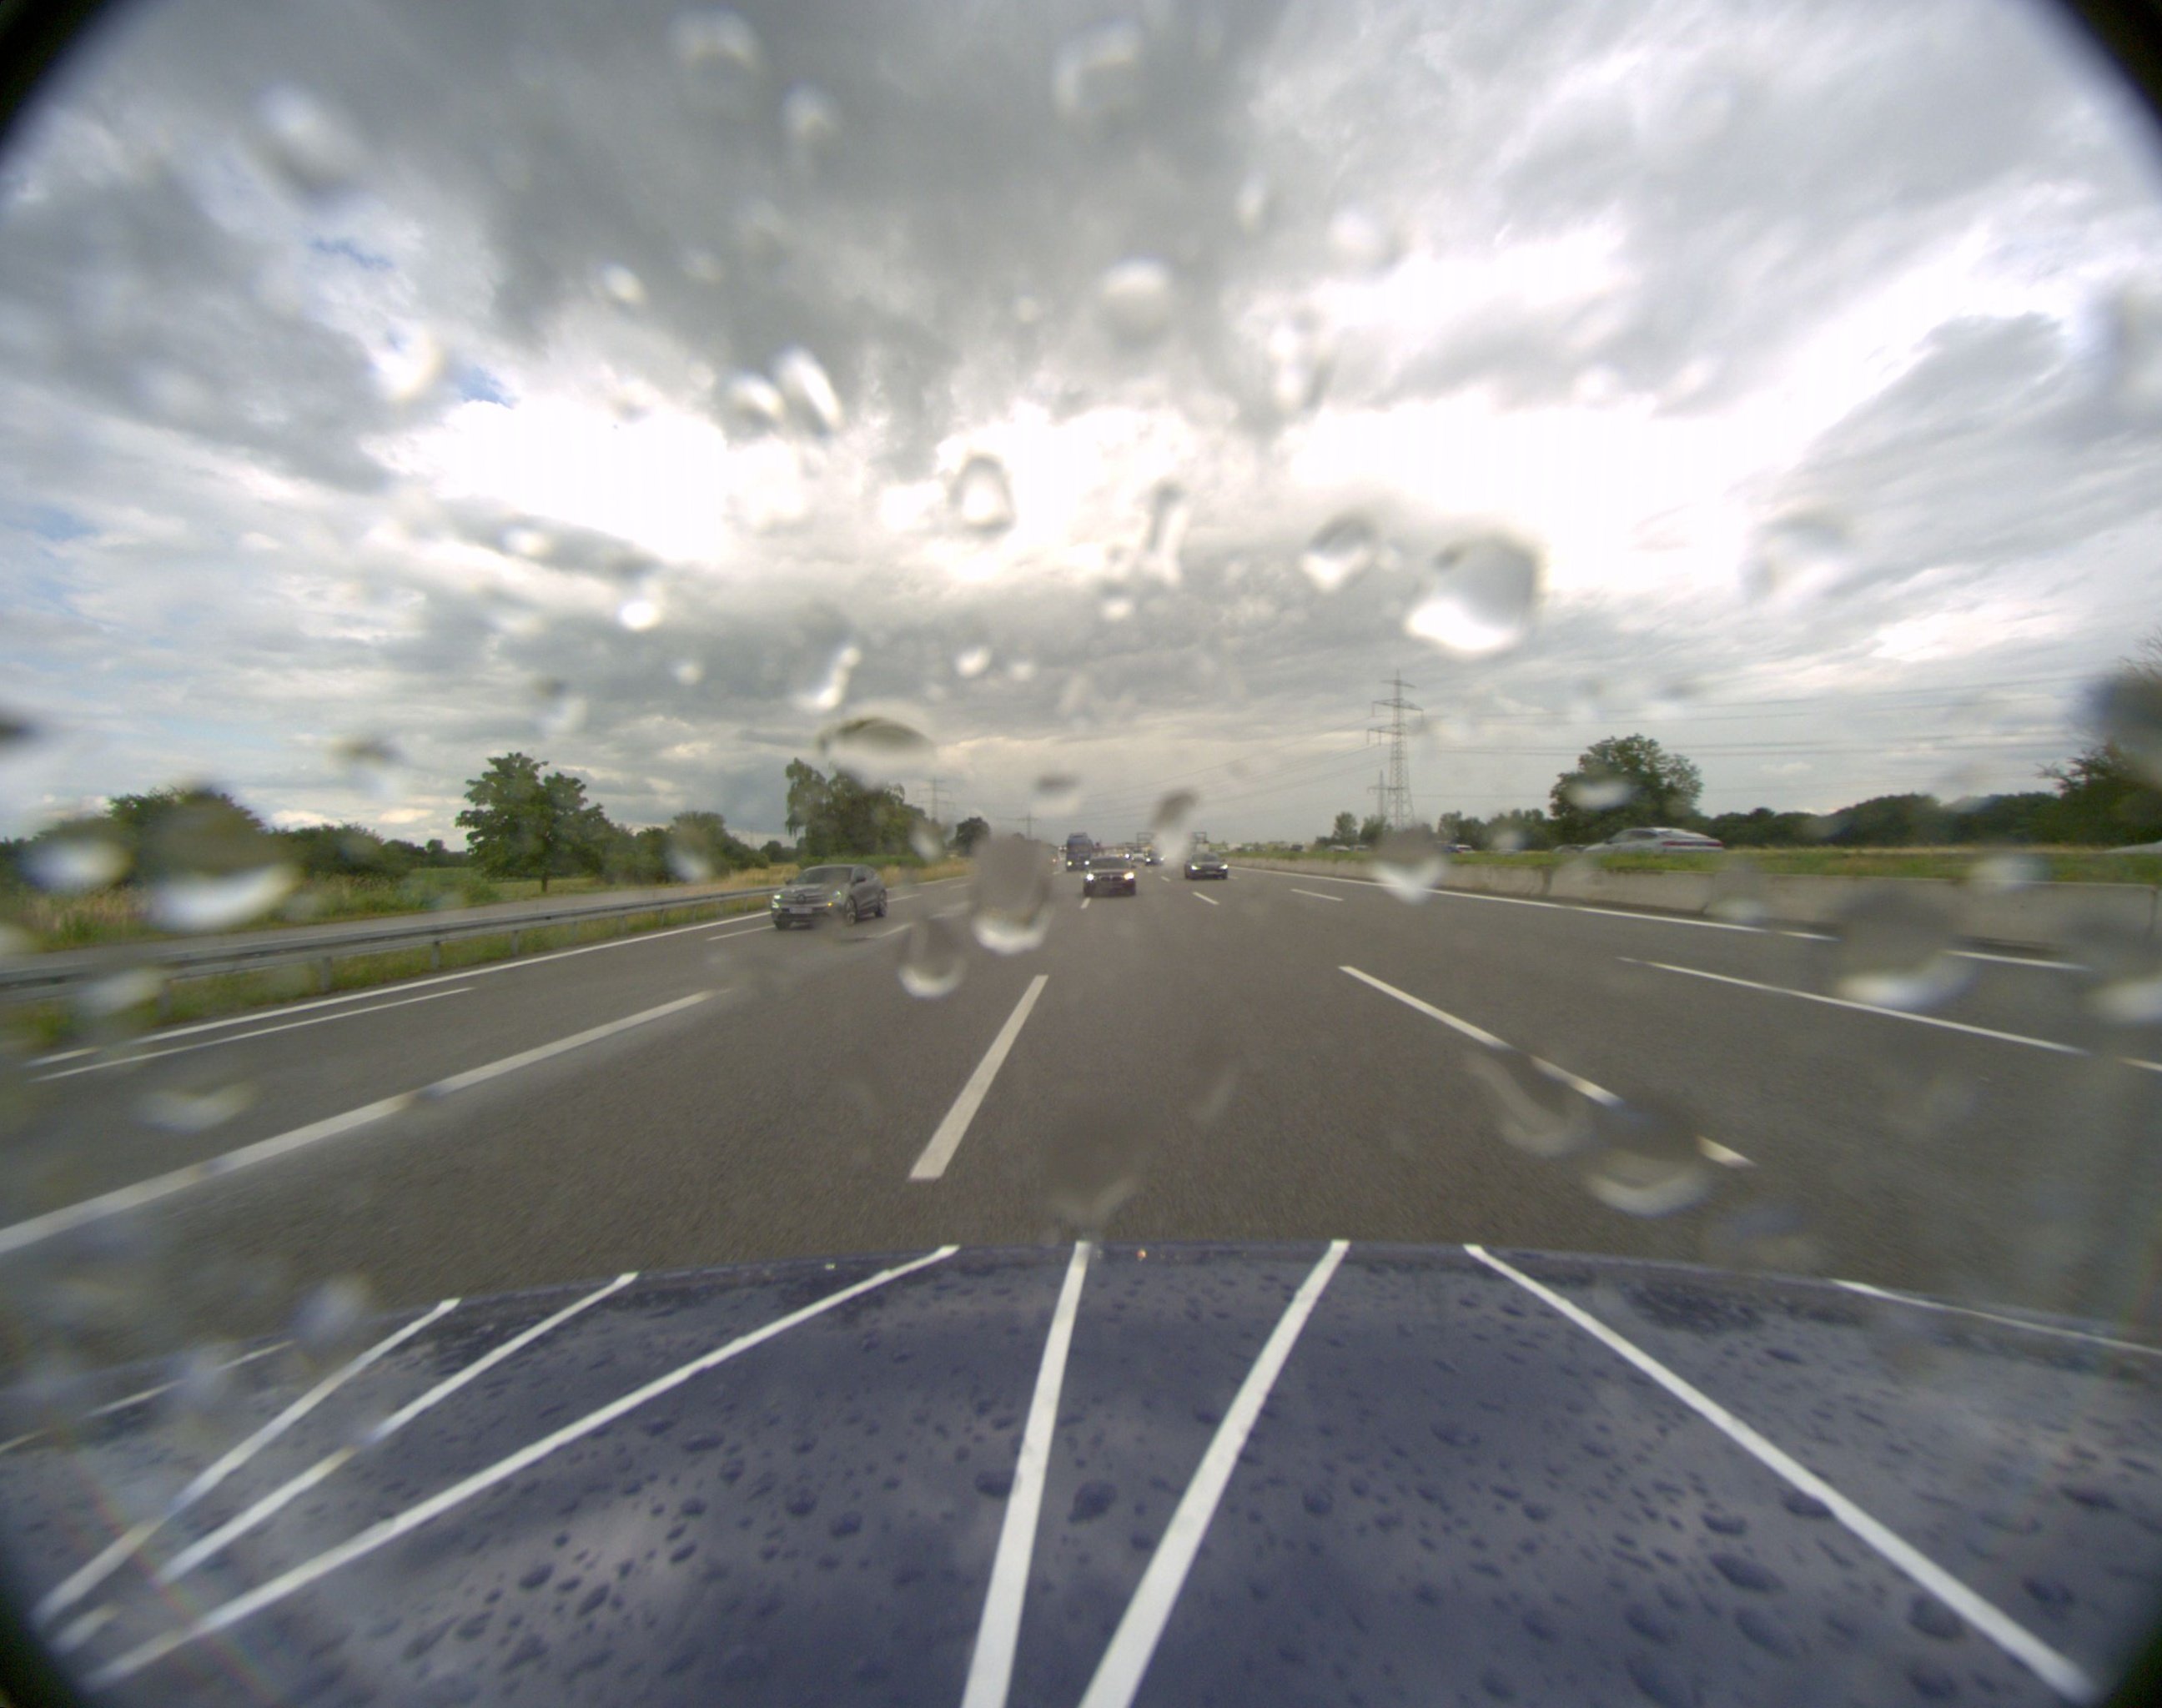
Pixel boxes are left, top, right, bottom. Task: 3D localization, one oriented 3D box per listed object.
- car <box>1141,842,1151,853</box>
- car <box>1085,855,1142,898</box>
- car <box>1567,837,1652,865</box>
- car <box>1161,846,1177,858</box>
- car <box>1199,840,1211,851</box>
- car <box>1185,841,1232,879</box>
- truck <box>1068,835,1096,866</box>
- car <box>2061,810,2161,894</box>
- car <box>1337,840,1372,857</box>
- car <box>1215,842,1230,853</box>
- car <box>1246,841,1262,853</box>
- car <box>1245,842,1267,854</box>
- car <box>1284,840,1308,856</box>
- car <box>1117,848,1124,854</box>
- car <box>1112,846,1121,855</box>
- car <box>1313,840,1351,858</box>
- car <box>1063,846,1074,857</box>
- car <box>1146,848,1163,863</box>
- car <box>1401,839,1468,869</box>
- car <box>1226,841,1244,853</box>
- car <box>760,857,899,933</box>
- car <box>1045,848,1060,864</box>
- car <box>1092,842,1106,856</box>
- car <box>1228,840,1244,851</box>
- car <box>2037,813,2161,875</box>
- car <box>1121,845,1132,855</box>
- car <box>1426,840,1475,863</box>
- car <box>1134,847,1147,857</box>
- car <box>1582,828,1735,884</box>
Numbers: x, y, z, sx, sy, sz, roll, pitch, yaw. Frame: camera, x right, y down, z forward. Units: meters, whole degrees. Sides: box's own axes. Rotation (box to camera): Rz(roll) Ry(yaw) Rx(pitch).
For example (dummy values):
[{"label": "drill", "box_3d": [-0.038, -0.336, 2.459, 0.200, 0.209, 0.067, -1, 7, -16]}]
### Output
[{"label": "car", "box_3d": [15.349, -1.441, 178.790, 2.144, 2.486, 5.450, -2, 1, 6]}, {"label": "car", "box_3d": [1.183, 0.764, 27.844, 1.922, 1.407, 4.000, -1, 0, 2]}, {"label": "car", "box_3d": [28.183, -0.176, 40.705, 1.824, 1.403, 4.000, -2, 1, 2]}, {"label": "car", "box_3d": [12.602, -0.266, 109.121, 1.822, 1.565, 4.000, -2, 1, 2]}, {"label": "car", "box_3d": [24.457, -1.602, 149.937, 1.824, 2.112, 4.000, -2, 1, 2]}, {"label": "car", "box_3d": [6.658, 0.283, 40.158, 1.998, 1.810, 5.164, -2, 1, 5]}, {"label": "truck", "box_3d": [0.155, -0.378, 71.837, 2.391, 2.726, 6.594, -2, 1, 2]}, {"label": "car", "box_3d": [22.623, -0.055, 14.668, 1.785, 1.687, 4.352, -2, 1, 0]}, {"label": "car", "box_3d": [25.100, -0.510, 69.936, 1.824, 1.403, 4.000, -2, 1, 2]}, {"label": "car", "box_3d": [23.775, -1.126, 127.629, 1.824, 1.721, 4.000, -2, 1, 2]}, {"label": "car", "box_3d": [27.492, -1.136, 120.873, 1.824, 1.721, 4.000, -2, 1, 2]}, {"label": "car", "box_3d": [21.547, -0.791, 93.513, 1.824, 1.403, 4.000, -2, 1, 2]}, {"label": "car", "box_3d": [26.568, -0.764, 93.951, 1.824, 1.897, 4.000, -2, 1, 2]}, {"label": "car", "box_3d": [12.120, -0.827, 231.362, 1.998, 1.801, 4.274, -1, 1, 3]}, {"label": "car", "box_3d": [7.985, -0.757, 170.109, 1.998, 1.810, 5.163, -2, 1, 4]}, {"label": "car", "box_3d": [20.604, -0.412, 62.478, 1.824, 1.403, 4.000, -2, 1, 2]}, {"label": "car", "box_3d": [-2.421, -0.466, 148.020, 1.998, 2.002, 5.051, -1, 0, 2]}, {"label": "car", "box_3d": [8.033, 0.119, 83.060, 1.710, 1.562, 4.348, -2, 1, 6]}, {"label": "car", "box_3d": [20.428, -0.012, 44.096, 1.785, 1.603, 4.352, -2, 1, 0]}, {"label": "car", "box_3d": [22.678, -1.063, 112.046, 1.824, 1.721, 4.000, -2, 1, 2]}, {"label": "car", "box_3d": [-6.283, 0.954, 19.613, 1.998, 1.632, 4.629, -2, 0, 0]}, {"label": "car", "box_3d": [-3.915, 0.250, 105.325, 1.835, 2.002, 3.863, -2, 1, 2]}, {"label": "car", "box_3d": [2.800, -0.773, 118.896, 1.998, 2.002, 5.051, -2, 1, 2]}, {"label": "car", "box_3d": [28.566, -1.567, 140.101, 2.077, 1.959, 4.953, -2, 1, 2]}, {"label": "car", "box_3d": [30.687, -0.305, 21.509, 1.785, 1.687, 4.352, -2, 1, 0]}, {"label": "car", "box_3d": [9.007, -0.857, 151.127, 1.998, 1.810, 5.163, -2, 1, 2]}, {"label": "car", "box_3d": [24.132, -0.200, 49.739, 1.467, 1.403, 3.595, -2, 1, 2]}, {"label": "car", "box_3d": [9.278, -0.351, 119.163, 1.806, 1.424, 4.000, -2, 1, 2]}, {"label": "car", "box_3d": [19.526, 0.029, 25.998, 1.785, 1.687, 4.501, -2, 1, 0]}]
